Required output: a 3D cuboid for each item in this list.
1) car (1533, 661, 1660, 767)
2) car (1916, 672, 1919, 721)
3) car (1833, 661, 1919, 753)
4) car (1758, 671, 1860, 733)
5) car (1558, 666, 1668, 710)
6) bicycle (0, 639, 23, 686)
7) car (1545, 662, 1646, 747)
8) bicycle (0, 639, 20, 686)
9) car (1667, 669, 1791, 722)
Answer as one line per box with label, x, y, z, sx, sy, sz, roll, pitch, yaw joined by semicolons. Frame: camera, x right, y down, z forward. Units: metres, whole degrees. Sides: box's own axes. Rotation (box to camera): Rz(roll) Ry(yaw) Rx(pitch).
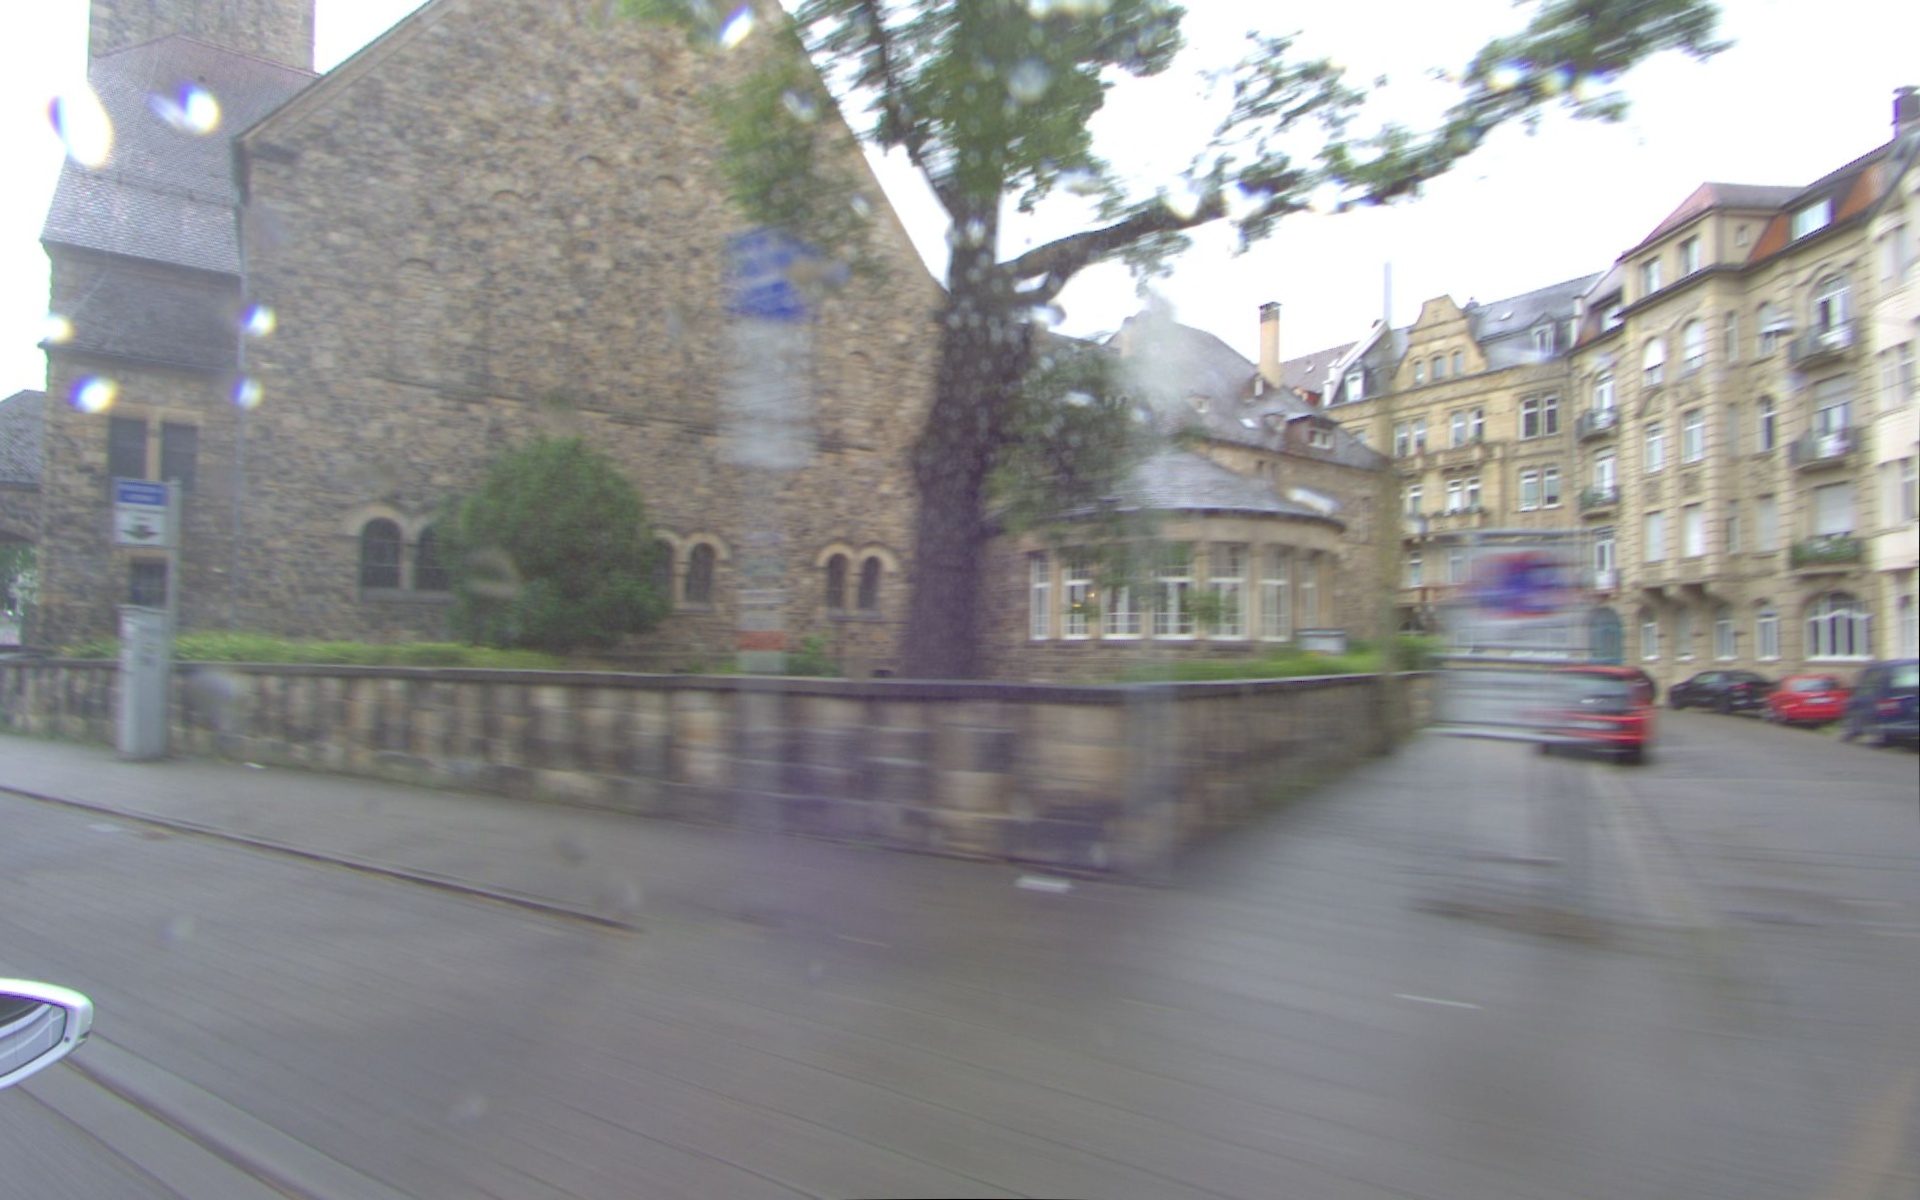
car;11.208;1.913;17.748;1.690;1.575;3.837;1;-2;31
car;17.660;1.979;16.507;1.788;1.608;3.839;-4;-5;30
car;20.054;2.182;21.053;1.788;1.800;3.839;-2;-4;30
car;25.025;2.951;29.646;1.690;1.575;3.837;1;-2;31
car;26.878;3.593;41.401;1.682;1.575;4.144;2;-2;-2
bicycle;-23.113;1.469;23.549;1.510;1.116;0.360;2;-2;-39
car;13.704;2.181;21.708;1.690;1.575;3.958;1;-2;31
bicycle;-23.414;1.491;23.829;1.475;1.116;0.360;2;-2;-39
car;26.800;3.280;35.084;1.682;1.575;4.246;2;-2;10
